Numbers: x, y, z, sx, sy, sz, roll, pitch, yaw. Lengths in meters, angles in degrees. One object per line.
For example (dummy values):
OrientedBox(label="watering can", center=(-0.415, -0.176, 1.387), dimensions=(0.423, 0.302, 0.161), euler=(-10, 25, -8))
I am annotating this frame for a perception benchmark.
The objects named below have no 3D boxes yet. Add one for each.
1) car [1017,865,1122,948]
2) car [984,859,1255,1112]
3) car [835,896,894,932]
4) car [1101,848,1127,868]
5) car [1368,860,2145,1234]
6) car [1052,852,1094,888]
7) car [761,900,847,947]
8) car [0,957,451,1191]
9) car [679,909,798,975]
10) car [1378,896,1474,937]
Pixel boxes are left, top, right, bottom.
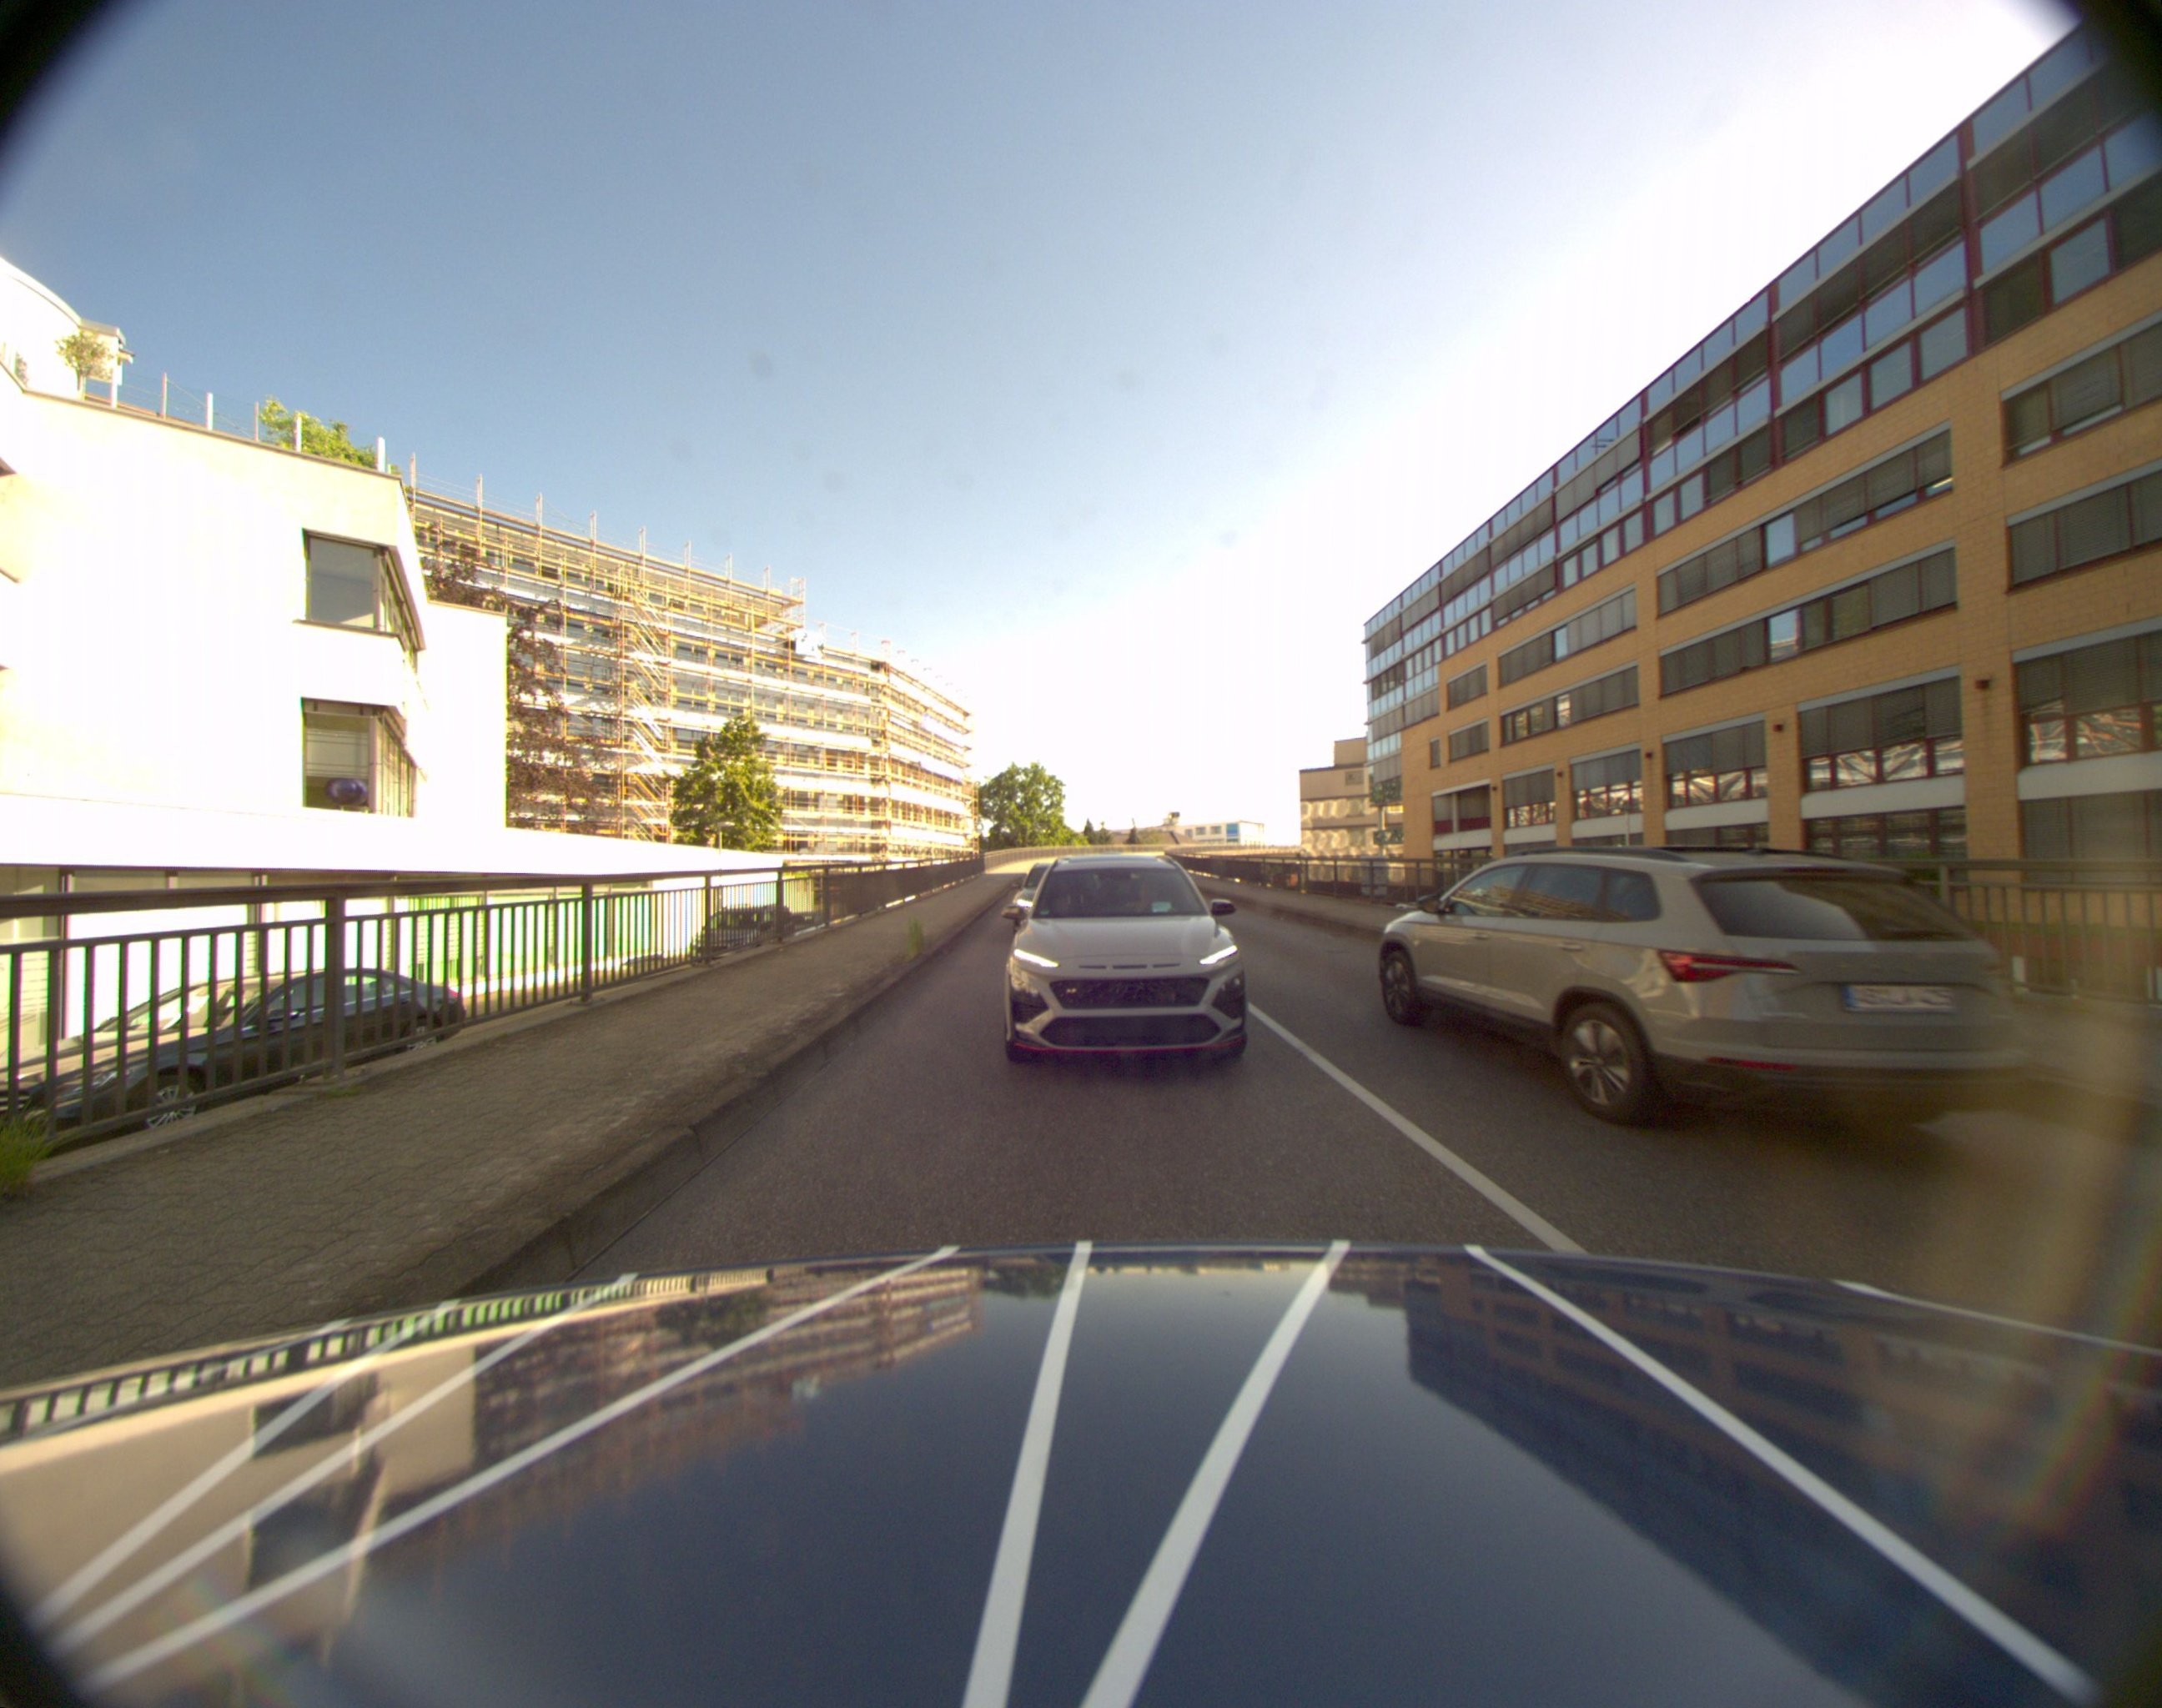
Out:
OrientedBox(label="car", center=(-0.264, 0.993, 15.861), dimensions=(1.902, 1.433, 4.126), euler=(0, 0, -2))
OrientedBox(label="car", center=(0.268, 0.888, 6.935), dimensions=(1.749, 1.637, 4.001), euler=(0, -1, 0))
OrientedBox(label="car", center=(-10.381, 2.857, 36.778), dimensions=(1.726, 1.383, 4.000), euler=(-2, -1, -1))
OrientedBox(label="car", center=(2.402, 0.291, 55.660), dimensions=(1.746, 1.399, 4.201), euler=(0, 0, 0))
OrientedBox(label="car", center=(3.700, 0.849, 5.296), dimensions=(1.809, 1.614, 4.000), euler=(0, 0, -2))
OrientedBox(label="car", center=(-0.406, 0.780, 38.203), dimensions=(1.952, 1.456, 3.998), euler=(3, 3, -1))
OrientedBox(label="car", center=(-10.216, 2.541, 28.319), dimensions=(1.726, 1.383, 4.000), euler=(-2, -1, -1))
OrientedBox(label="car", center=(-9.625, 2.182, 8.523), dimensions=(1.726, 1.513, 4.001), euler=(-2, -1, 0))
OrientedBox(label="car", center=(-10.006, 2.521, 22.532), dimensions=(1.726, 1.513, 4.000), euler=(-2, -1, -1))
OrientedBox(label="car", center=(12.617, 2.262, 28.046), dimensions=(1.766, 1.261, 3.809), euler=(0, -1, -1))
